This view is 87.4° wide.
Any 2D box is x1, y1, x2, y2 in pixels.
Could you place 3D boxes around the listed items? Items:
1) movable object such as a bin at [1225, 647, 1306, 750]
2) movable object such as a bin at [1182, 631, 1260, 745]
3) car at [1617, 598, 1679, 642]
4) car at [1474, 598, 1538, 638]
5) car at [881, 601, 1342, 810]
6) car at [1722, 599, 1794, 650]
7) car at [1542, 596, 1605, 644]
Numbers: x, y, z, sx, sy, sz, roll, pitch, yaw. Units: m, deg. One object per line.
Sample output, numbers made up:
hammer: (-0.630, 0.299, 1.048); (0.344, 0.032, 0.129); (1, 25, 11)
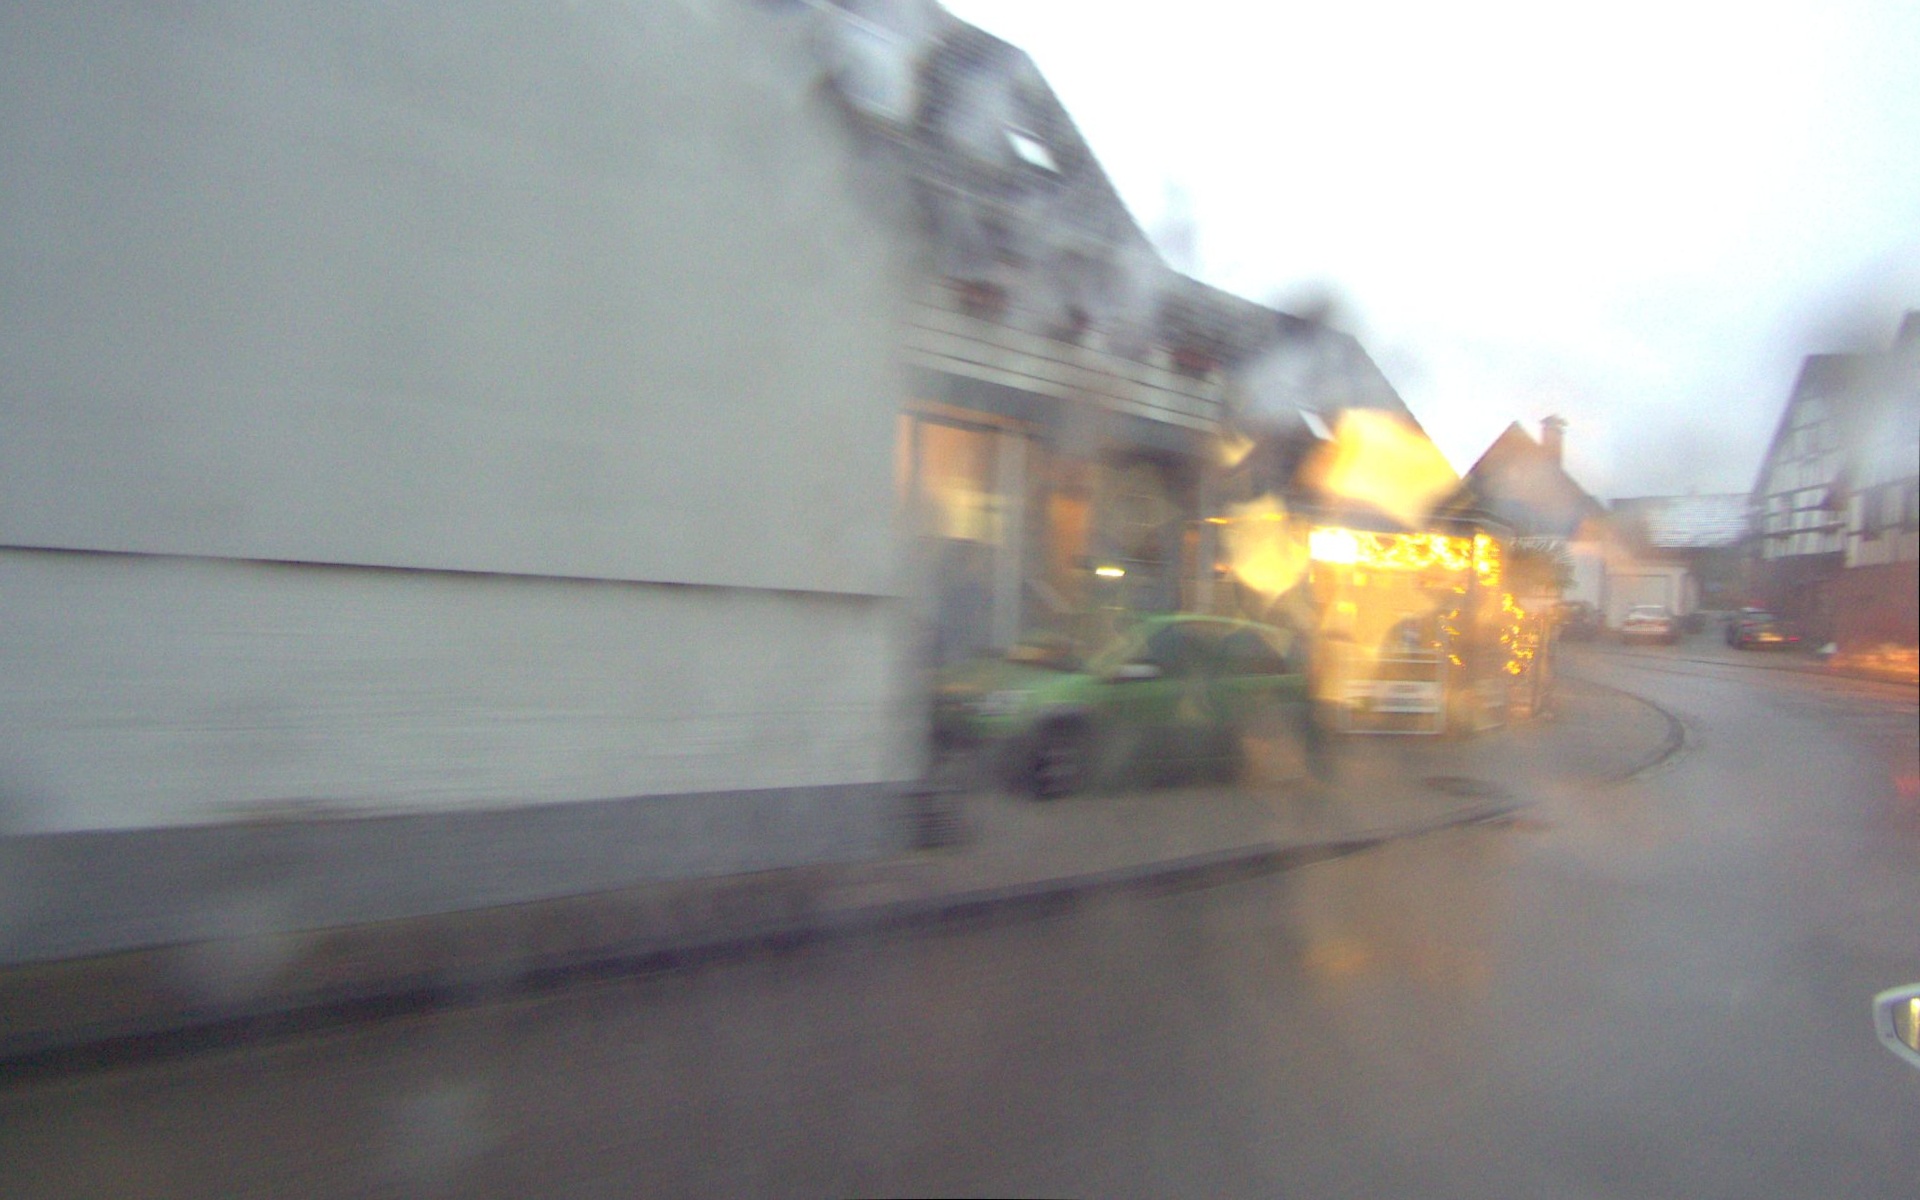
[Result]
movable object such as a bin: (3.553, 1.125, 11.688); (0.725, 1.117, 0.604); (1, -1, -38)
movable object such as a bin: (3.167, 1.039, 12.195); (0.725, 1.314, 0.604); (1, -1, -38)
car: (27.540, 0.782, 40.149); (1.787, 1.440, 4.020); (-2, 2, 38)
car: (24.498, 0.780, 44.990); (1.860, 1.469, 3.876); (-2, 2, 38)
car: (1.377, 0.815, 8.739); (3.759, 1.440, 1.611); (2, 0, -30)
car: (29.300, 0.866, 36.990); (1.570, 1.536, 3.974); (-2, 2, 32)
car: (26.266, 0.831, 42.940); (1.826, 1.683, 4.458); (-2, 2, 37)
